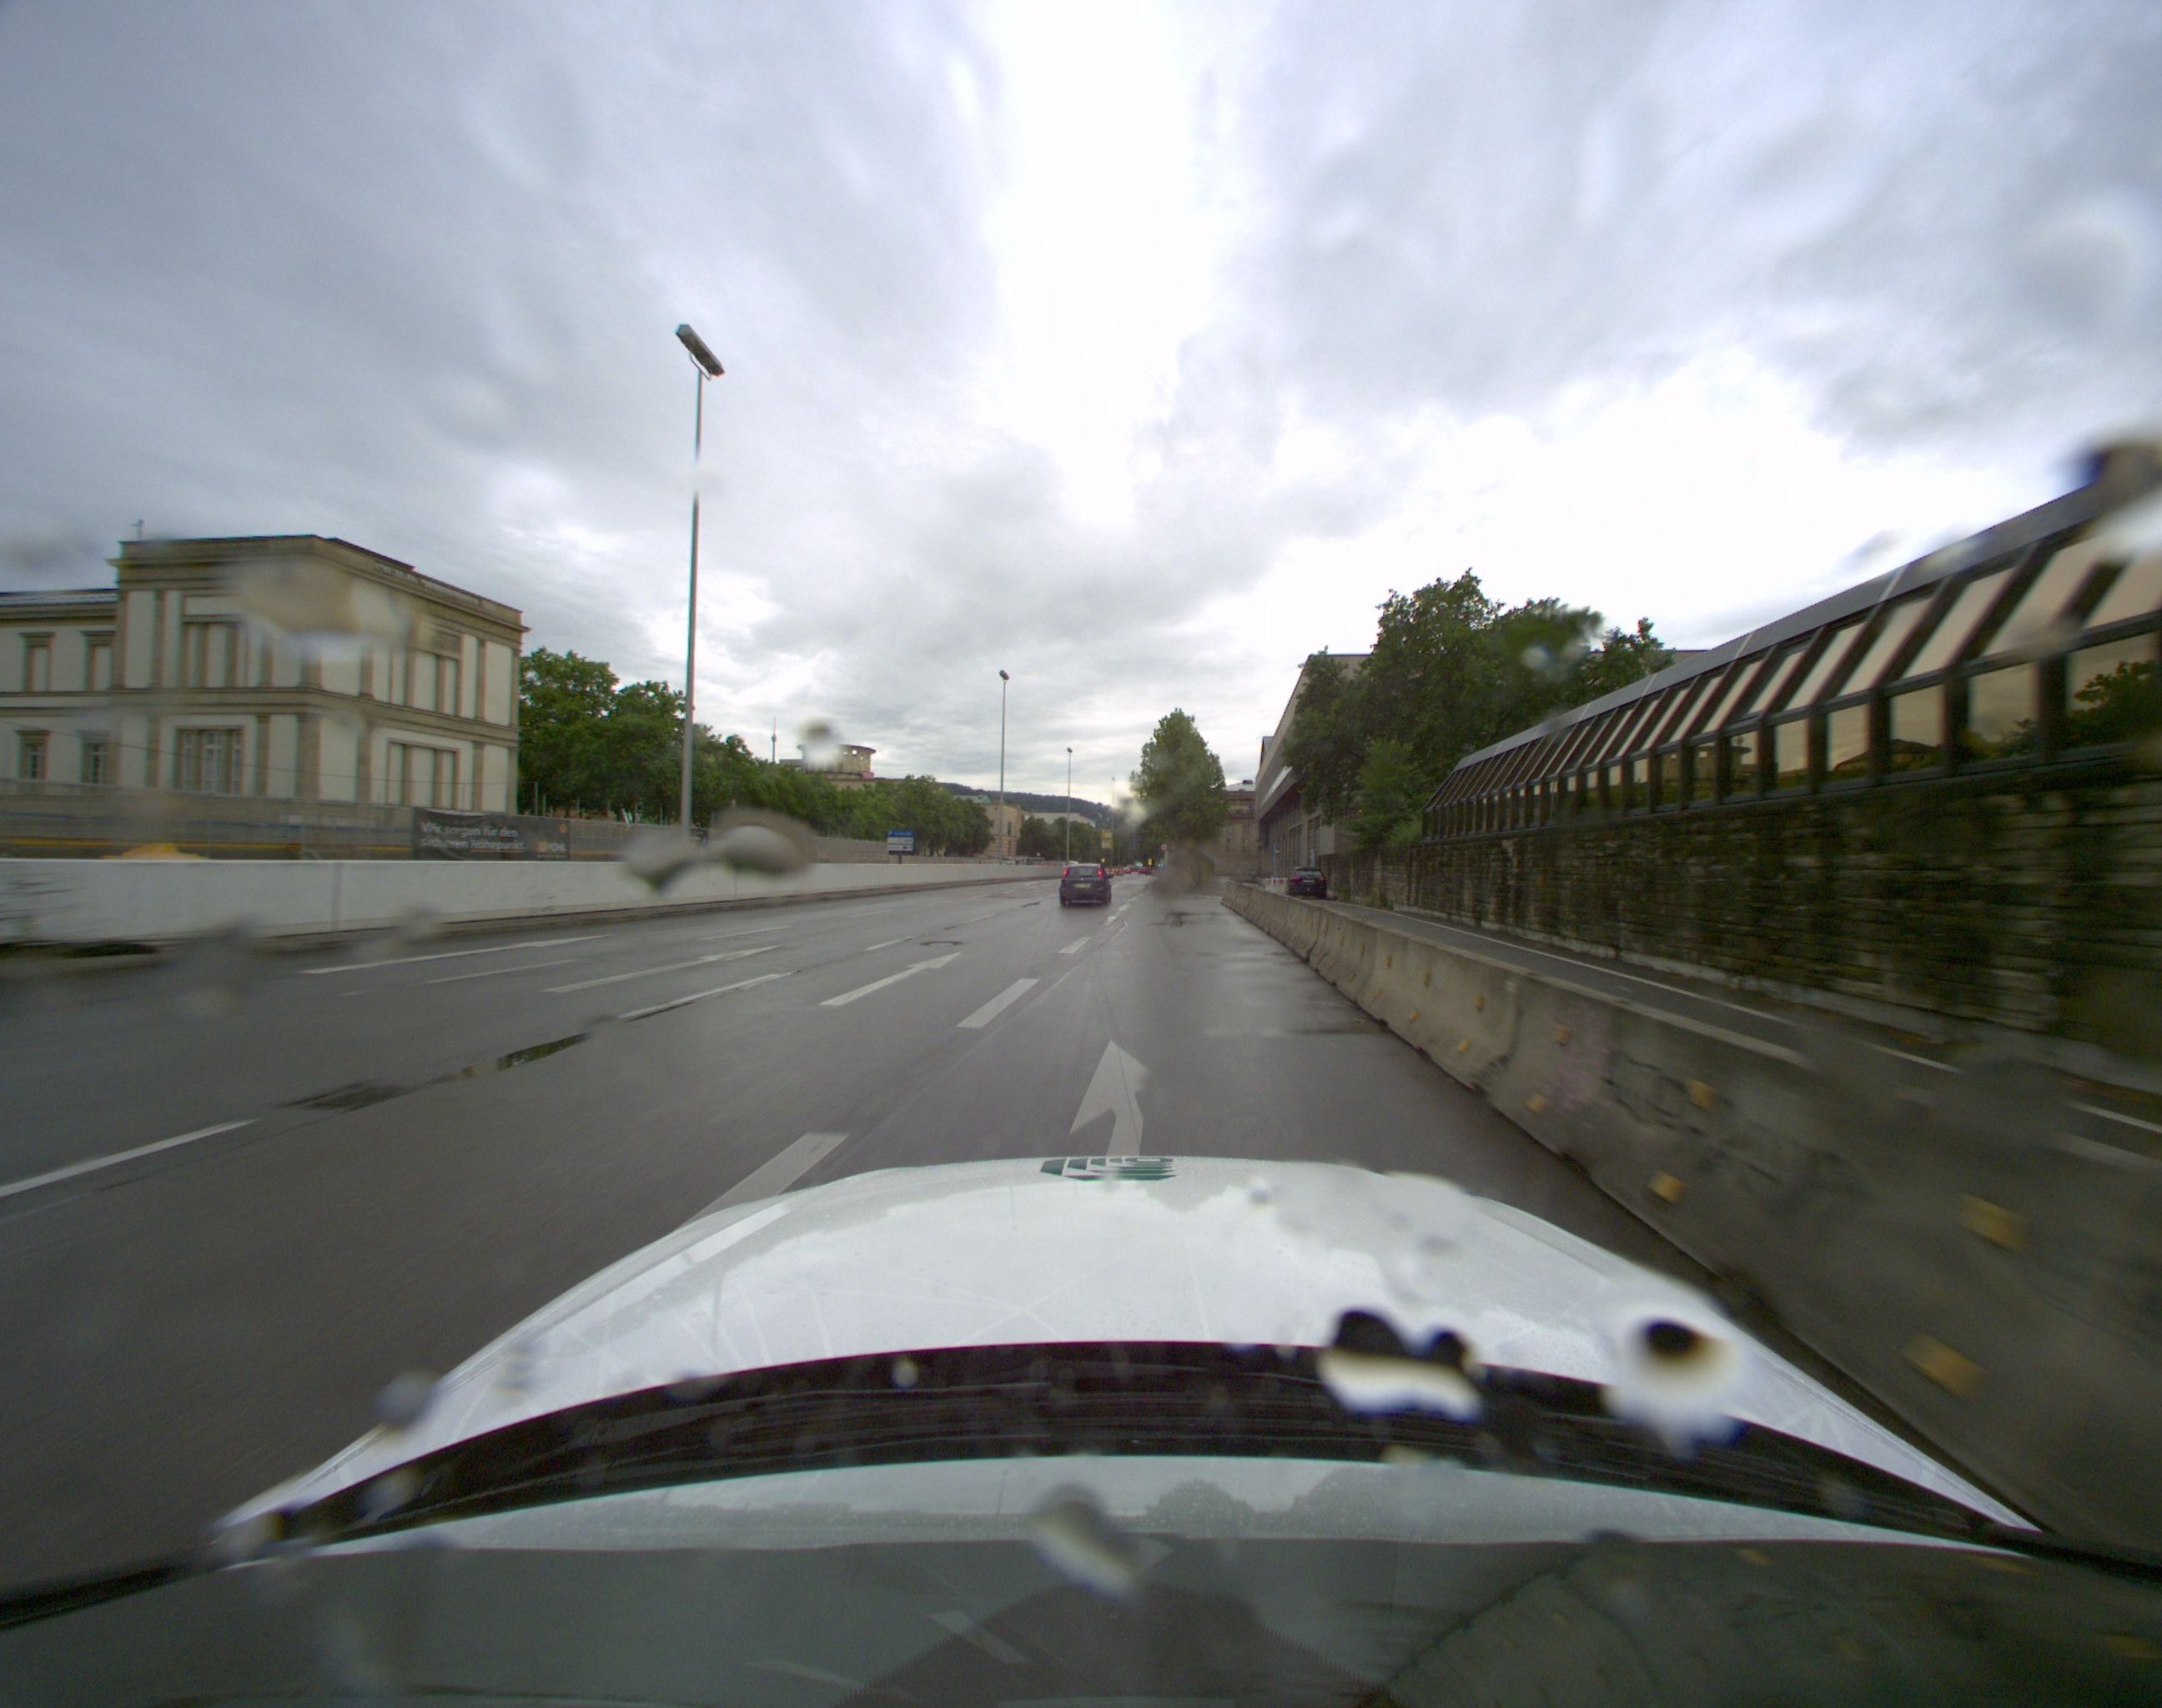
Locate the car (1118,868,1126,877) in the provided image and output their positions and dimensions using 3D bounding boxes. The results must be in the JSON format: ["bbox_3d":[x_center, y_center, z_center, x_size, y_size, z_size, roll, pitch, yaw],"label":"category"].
[{"bbox_3d":[6.850,3.067,136.101,1.380,1.386,3.069,0,-2,3],"label":"car"}]

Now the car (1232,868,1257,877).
[{"bbox_3d":[27.856,3.151,138.734,3.965,1.560,1.937,0,-4,7],"label":"car"}]

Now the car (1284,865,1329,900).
[{"bbox_3d":[10.843,1.328,39.411,1.793,1.552,4.339,2,0,12],"label":"car"}]

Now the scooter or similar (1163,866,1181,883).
[{"bbox_3d":[7.342,1.673,65.722,1.348,1.286,0.620,3,-3,8],"label":"scooter or similar"}]

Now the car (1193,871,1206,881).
[{"bbox_3d":[22.433,4.109,154.152,1.980,1.708,4.013,2,0,12],"label":"car"}]

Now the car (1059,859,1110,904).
[{"bbox_3d":[0.143,0.919,29.101,1.664,1.427,3.758,2,0,1],"label":"car"}]

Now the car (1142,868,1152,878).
[{"bbox_3d":[14.646,4.239,179.471,1.983,2.014,4.007,2,0,7],"label":"car"}]

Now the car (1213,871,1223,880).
[{"bbox_3d":[29.490,4.580,174.933,1.980,1.709,4.012,2,-2,12],"label":"car"}]

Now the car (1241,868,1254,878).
[{"bbox_3d":[29.915,3.409,146.490,1.982,1.760,5.106,1,-3,8],"label":"car"}]

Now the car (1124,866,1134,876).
[{"bbox_3d":[10.678,3.720,180.881,1.986,2.014,4.001,3,-3,2],"label":"car"}]
